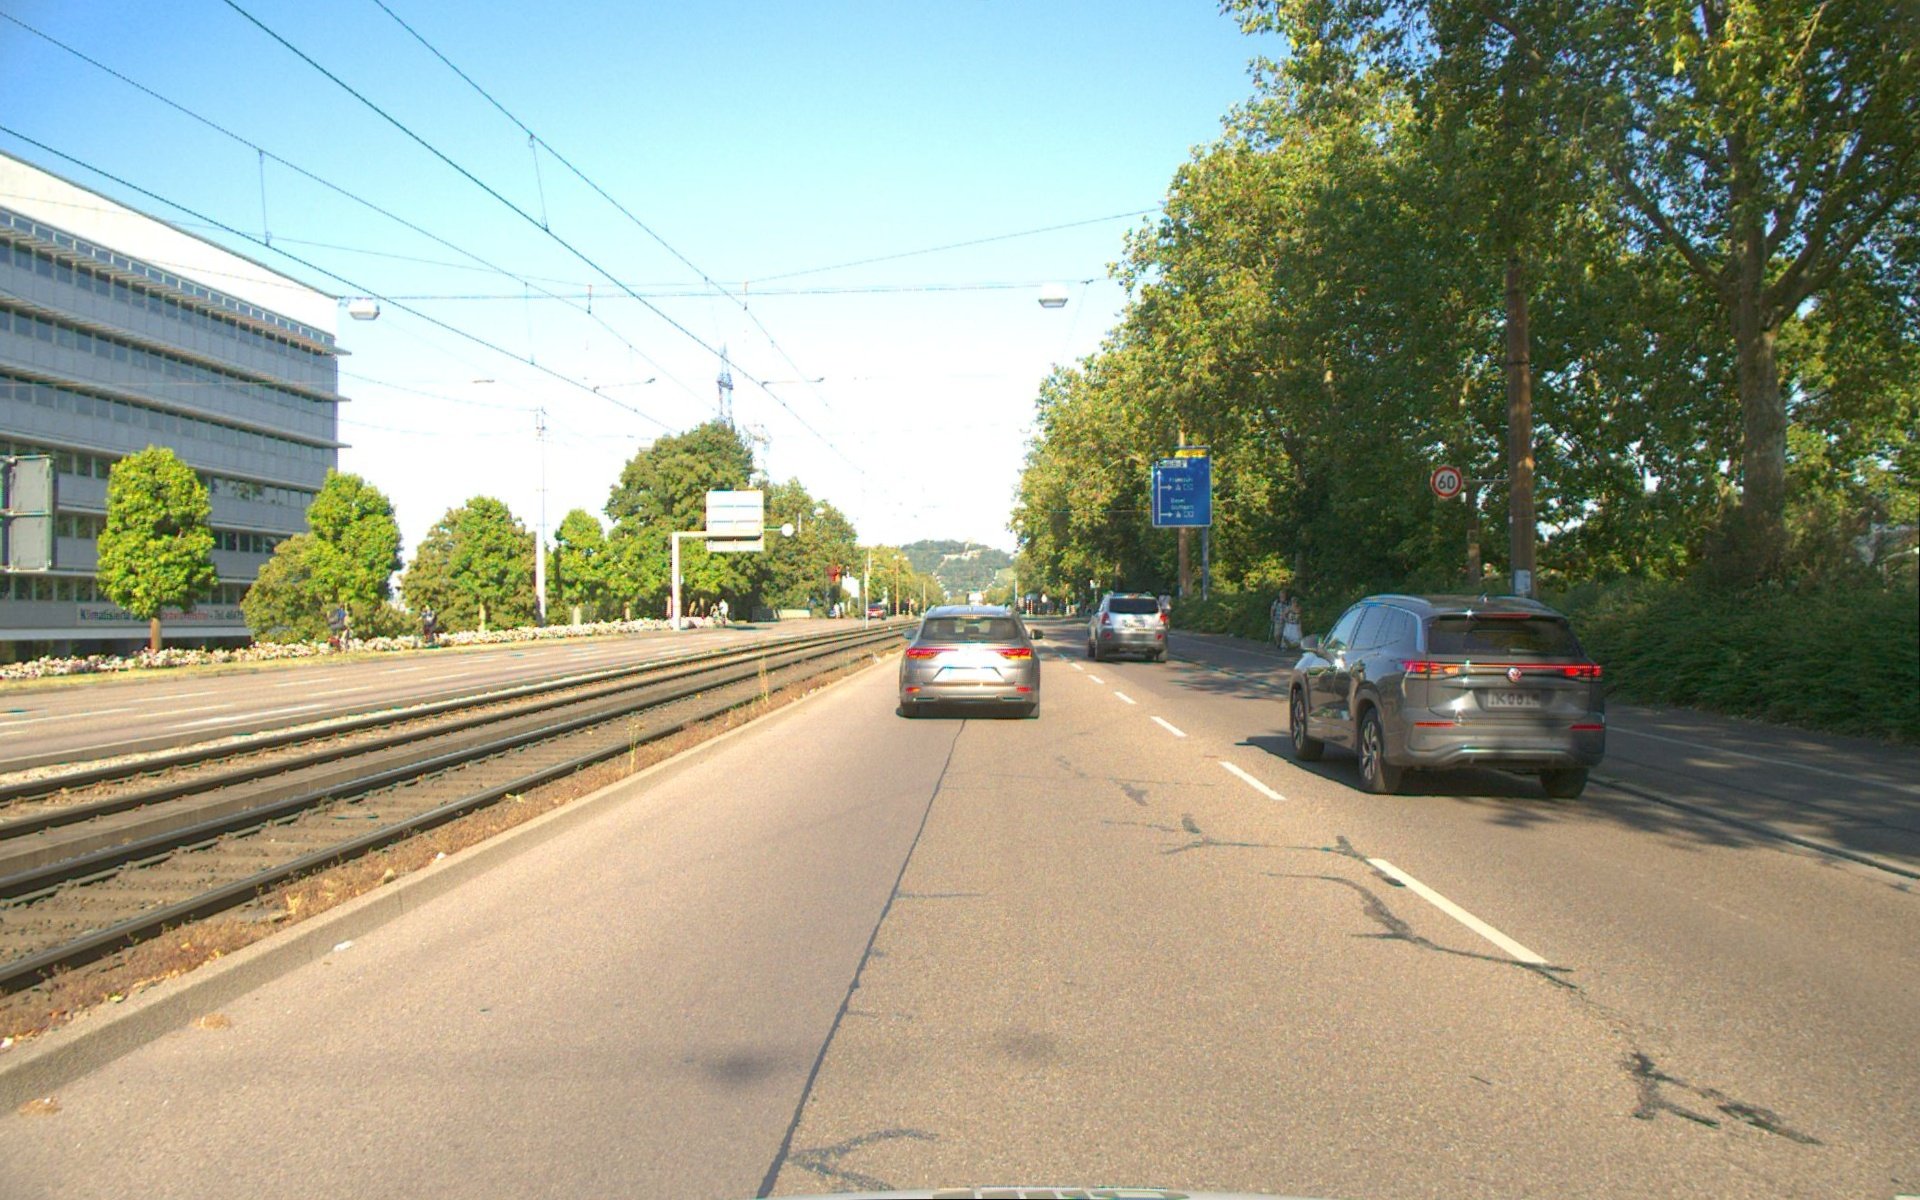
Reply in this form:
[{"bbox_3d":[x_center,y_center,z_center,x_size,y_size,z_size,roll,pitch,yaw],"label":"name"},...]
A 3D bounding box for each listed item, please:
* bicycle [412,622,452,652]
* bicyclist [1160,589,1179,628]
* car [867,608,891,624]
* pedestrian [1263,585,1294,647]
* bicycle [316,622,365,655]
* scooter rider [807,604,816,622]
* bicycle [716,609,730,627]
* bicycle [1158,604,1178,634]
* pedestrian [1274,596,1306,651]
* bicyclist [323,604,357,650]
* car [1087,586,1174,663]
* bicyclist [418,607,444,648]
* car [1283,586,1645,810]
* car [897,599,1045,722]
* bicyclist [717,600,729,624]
[{"bbox_3d":[-21.825,1.516,68.373,0.647,1.171,2.024,2,0,11],"label":"bicycle"},{"bbox_3d":[8.385,0.328,66.209,0.671,1.535,0.891,0,0,1],"label":"bicyclist"},{"bbox_3d":[-8.054,1.582,164.321,1.997,1.529,4.889,-1,0,2],"label":"car"},{"bbox_3d":[9.047,0.452,46.970,0.707,1.737,0.813,-1,0,1],"label":"pedestrian"},{"bbox_3d":[-21.442,1.320,57.276,0.690,1.092,2.029,2,0,8],"label":"bicycle"},{"bbox_3d":[-15.116,1.309,168.497,0.667,1.881,1.001,-1,0,9],"label":"scooter rider"},{"bbox_3d":[-17.023,1.304,118.788,0.590,1.240,1.749,2,0,5],"label":"bicycle"},{"bbox_3d":[8.345,0.760,66.392,0.609,1.140,1.813,-1,0,1],"label":"bicycle"},{"bbox_3d":[9.067,0.639,45.425,0.708,1.506,0.722,-1,0,1],"label":"pedestrian"},{"bbox_3d":[-21.442,0.922,57.209,0.690,1.539,0.971,2,0,8],"label":"bicyclist"},{"bbox_3d":[4.364,0.597,42.776,1.844,1.827,4.000,2,0,1],"label":"car"},{"bbox_3d":[-21.832,1.117,68.274,0.647,1.652,0.802,2,0,11],"label":"bicyclist"},{"bbox_3d":[4.301,0.740,14.892,1.807,1.690,4.438,1,0,-1],"label":"car"},{"bbox_3d":[0.210,0.749,22.784,1.827,1.493,4.667,0,0,2],"label":"car"},{"bbox_3d":[-17.003,0.888,118.838,0.590,1.688,0.963,2,0,5],"label":"bicyclist"}]
